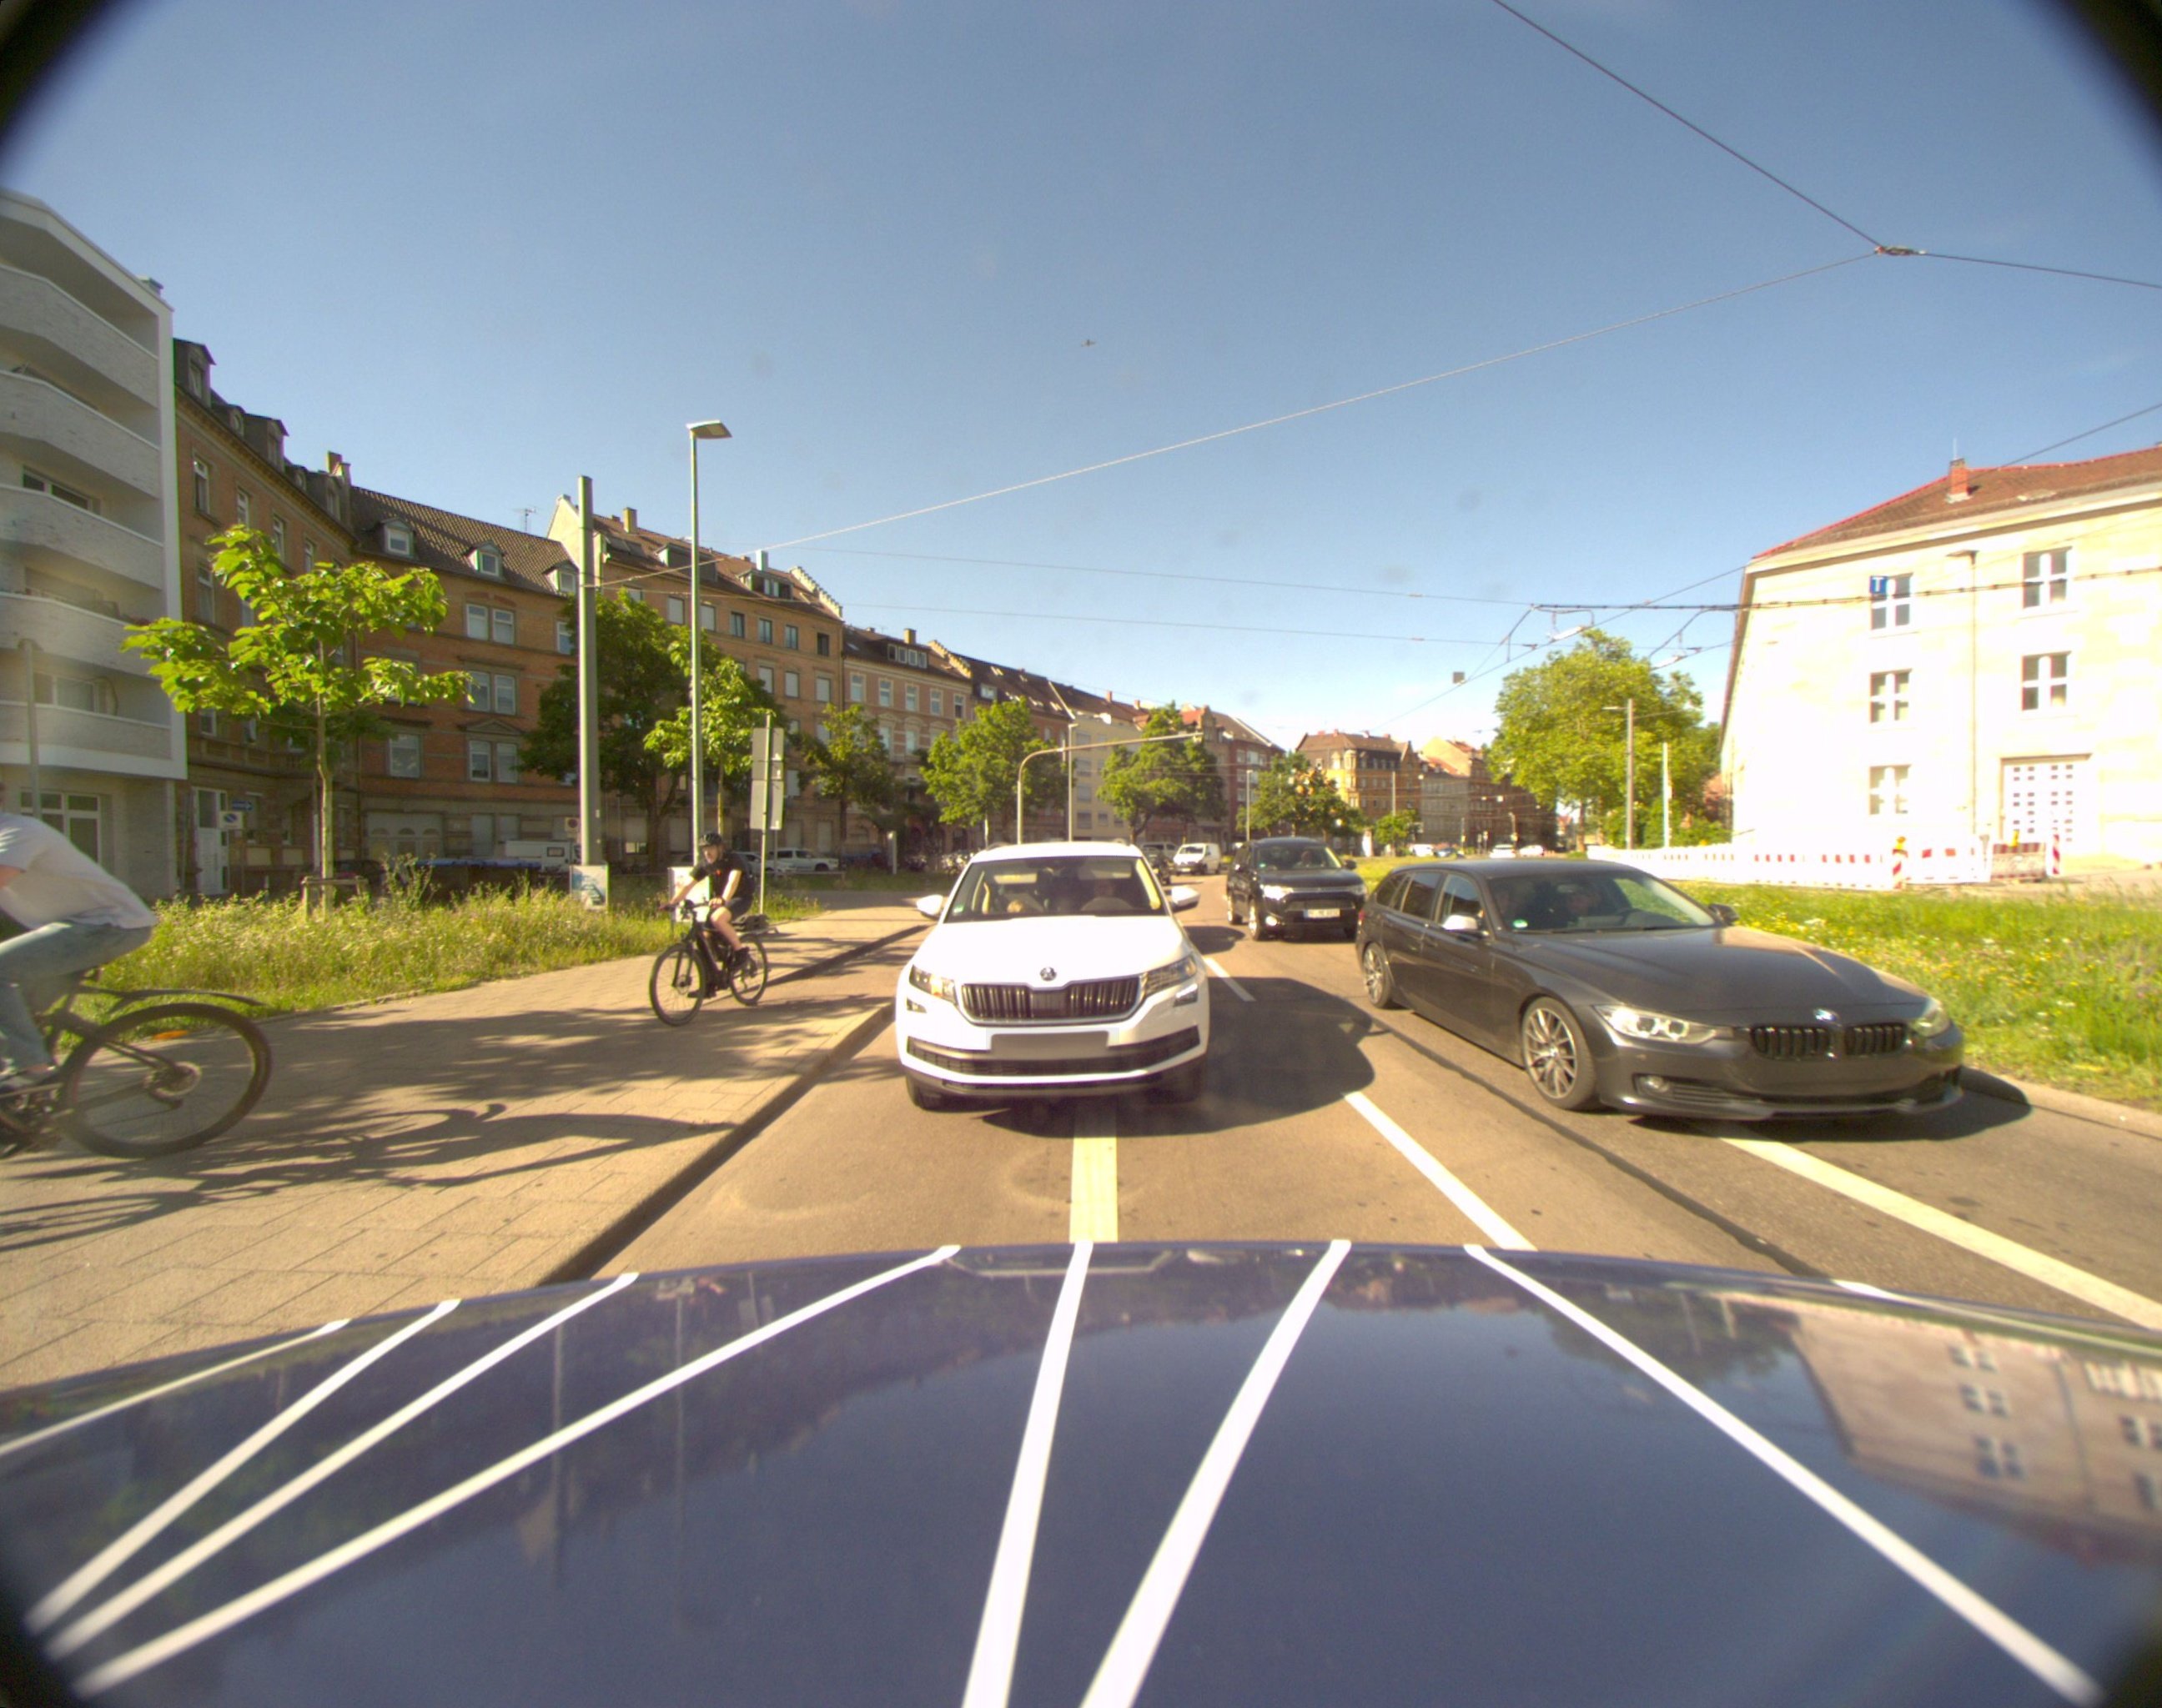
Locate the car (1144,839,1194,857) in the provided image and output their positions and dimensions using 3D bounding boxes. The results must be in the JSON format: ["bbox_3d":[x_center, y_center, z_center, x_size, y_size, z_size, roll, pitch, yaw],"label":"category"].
[{"bbox_3d":[8.199,-0.583,70.609,4.578,1.658,1.600,0,1,7],"label":"car"}]

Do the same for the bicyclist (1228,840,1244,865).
[{"bbox_3d":[12.629,-0.160,61.859,0.847,2.002,1.198,0,1,33],"label":"bicyclist"}]

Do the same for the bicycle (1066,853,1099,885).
[{"bbox_3d":[0.083,0.661,34.262,0.735,1.353,2.078,0,1,21],"label":"bicycle"}]

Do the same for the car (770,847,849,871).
[{"bbox_3d":[-14.679,0.258,41.195,3.700,1.244,1.540,0,1,2],"label":"car"}]

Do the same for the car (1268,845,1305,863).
[{"bbox_3d":[17.514,-0.054,64.581,1.836,1.464,4.722,1,1,31],"label":"car"}]

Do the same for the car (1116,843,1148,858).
[{"bbox_3d":[5.470,-0.416,80.728,1.547,1.578,3.607,1,2,41],"label":"car"}]

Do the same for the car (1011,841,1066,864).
[{"bbox_3d":[-3.106,-0.132,56.104,3.825,1.698,1.682,0,1,3],"label":"car"}]

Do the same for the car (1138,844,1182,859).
[{"bbox_3d":[7.128,-0.243,68.179,3.823,1.372,1.600,0,1,9],"label":"car"}]

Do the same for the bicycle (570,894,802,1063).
[{"bbox_3d":[-3.529,1.035,7.075,0.637,1.190,2.156,-1,1,13],"label":"bicycle"}]

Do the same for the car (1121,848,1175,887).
[{"bbox_3d":[3.124,0.560,34.866,1.837,1.637,4.152,0,1,14],"label":"car"}]

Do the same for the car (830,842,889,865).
[{"bbox_3d":[-15.609,-0.053,53.671,1.547,1.578,3.709,1,2,41],"label":"car"}]

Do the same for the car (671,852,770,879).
[{"bbox_3d":[-17.499,0.536,36.907,4.156,1.244,1.683,0,1,13],"label":"car"}]

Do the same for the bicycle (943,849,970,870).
[{"bbox_3d":[-7.684,0.344,46.760,0.664,1.260,2.199,-3,1,-36],"label":"bicycle"}]

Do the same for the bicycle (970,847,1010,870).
[{"bbox_3d":[-5.474,0.271,45.740,2.207,1.260,0.662,-3,1,-25],"label":"bicycle"}]

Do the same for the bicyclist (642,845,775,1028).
[{"bbox_3d":[-3.511,0.728,7.238,0.630,1.619,0.972,-1,1,13],"label":"bicyclist"}]

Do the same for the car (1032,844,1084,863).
[{"bbox_3d":[-1.774,-0.049,58.713,3.823,1.398,1.600,0,1,6],"label":"car"}]

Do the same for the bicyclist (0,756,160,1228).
[{"bbox_3d":[-4.644,0.545,3.110,0.809,1.855,0.750,0,2,13],"label":"bicyclist"}]

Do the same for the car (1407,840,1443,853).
[{"bbox_3d":[52.455,-1.182,115.890,4.578,1.864,2.004,-2,1,44],"label":"car"}]

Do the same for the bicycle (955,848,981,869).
[{"bbox_3d":[-7.121,0.312,47.754,0.664,1.260,2.199,-3,1,-36],"label":"bicycle"}]

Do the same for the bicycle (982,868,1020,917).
[{"bbox_3d":[-2.158,1.025,20.747,0.668,1.190,2.155,-1,1,4],"label":"bicycle"}]

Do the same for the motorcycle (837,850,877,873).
[{"bbox_3d":[-13.288,0.441,45.020,2.314,1.270,0.664,-2,1,24],"label":"motorcycle"}]

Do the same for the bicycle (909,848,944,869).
[{"bbox_3d":[-9.509,0.282,46.712,2.198,1.260,0.664,-2,1,32],"label":"bicycle"}]

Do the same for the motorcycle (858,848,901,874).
[{"bbox_3d":[-11.177,0.377,42.207,2.200,1.322,0.663,-2,1,13],"label":"motorcycle"}]

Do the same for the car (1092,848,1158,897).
[{"bbox_3d":[1.644,0.602,26.957,1.838,1.543,4.151,0,1,10],"label":"car"}]

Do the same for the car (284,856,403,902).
[{"bbox_3d":[-26.167,0.830,27.148,1.835,1.419,4.378,-1,1,-27],"label":"car"}]

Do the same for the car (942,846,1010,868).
[{"bbox_3d":[-7.042,0.179,51.296,4.322,1.398,1.682,0,1,3],"label":"car"}]

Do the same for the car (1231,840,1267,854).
[{"bbox_3d":[18.696,-0.813,84.659,3.823,1.581,1.600,0,1,6],"label":"car"}]

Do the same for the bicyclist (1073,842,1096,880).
[{"bbox_3d":[0.171,0.304,34.473,0.734,1.685,0.973,0,1,22],"label":"bicyclist"}]

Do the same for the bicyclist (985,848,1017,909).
[{"bbox_3d":[-2.174,0.643,20.740,0.668,1.619,0.971,-1,1,5],"label":"bicyclist"}]

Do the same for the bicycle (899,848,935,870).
[{"bbox_3d":[-9.741,0.310,45.071,2.198,1.260,0.664,-2,1,30],"label":"bicycle"}]

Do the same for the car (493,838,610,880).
[{"bbox_3d":[-27.116,0.218,39.010,2.047,2.026,4.510,1,2,41],"label":"car"}]

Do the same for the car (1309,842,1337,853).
[{"bbox_3d":[40.282,-1.095,126.440,4.058,1.647,1.770,1,2,34],"label":"car"}]

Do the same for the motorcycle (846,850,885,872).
[{"bbox_3d":[-12.939,0.418,45.625,2.314,1.276,0.664,-2,1,24],"label":"motorcycle"}]

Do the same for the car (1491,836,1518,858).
[{"bbox_3d":[33.625,-0.561,60.331,1.821,1.636,4.190,-1,0,29],"label":"car"}]

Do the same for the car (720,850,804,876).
[{"bbox_3d":[-16.406,0.442,39.106,3.696,1.244,1.683,0,1,13],"label":"car"}]

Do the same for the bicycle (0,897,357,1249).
[{"bbox_3d":[-4.612,0.911,3.208,0.757,1.293,2.156,-1,1,12],"label":"bicycle"}]

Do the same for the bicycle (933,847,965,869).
[{"bbox_3d":[-7.728,0.243,44.518,0.664,1.260,2.198,-3,1,-45],"label":"bicycle"}]

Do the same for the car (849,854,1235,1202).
[{"bbox_3d":[-0.227,0.856,5.950,1.842,1.636,4.397,-2,0,-1],"label":"car"}]

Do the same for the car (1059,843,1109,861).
[{"bbox_3d":[0.262,-0.155,61.165,3.823,1.398,1.600,0,1,6],"label":"car"}]

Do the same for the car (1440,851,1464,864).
[{"bbox_3d":[49.457,0.389,101.259,1.835,1.637,4.157,1,2,40],"label":"car"}]

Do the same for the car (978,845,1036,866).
[{"bbox_3d":[-5.226,0.091,53.965,3.822,1.398,1.683,0,1,9],"label":"car"}]

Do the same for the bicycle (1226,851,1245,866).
[{"bbox_3d":[12.583,0.337,61.777,0.762,1.138,2.287,0,1,32],"label":"bicycle"}]

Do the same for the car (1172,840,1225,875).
[{"bbox_3d":[7.392,0.158,47.333,1.978,2.074,4.721,0,1,26],"label":"car"}]

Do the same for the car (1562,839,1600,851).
[{"bbox_3d":[67.816,-1.254,103.075,4.069,1.647,1.765,0,1,-5],"label":"car"}]

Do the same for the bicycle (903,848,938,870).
[{"bbox_3d":[-9.705,0.298,46.009,2.198,1.260,0.664,-2,1,32],"label":"bicycle"}]

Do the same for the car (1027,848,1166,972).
[{"bbox_3d":[0.236,0.764,12.608,1.842,1.636,4.397,-2,0,1],"label":"car"}]

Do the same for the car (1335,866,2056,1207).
[{"bbox_3d":[3.479,0.852,5.594,1.741,1.359,4.426,-2,0,1],"label":"car"}]

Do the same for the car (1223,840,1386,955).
[{"bbox_3d":[3.698,0.628,13.398,1.841,1.636,4.399,-2,0,5],"label":"car"}]

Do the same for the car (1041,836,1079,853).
[{"bbox_3d":[-1.938,-0.937,71.666,1.547,1.578,3.607,1,2,41],"label":"car"}]

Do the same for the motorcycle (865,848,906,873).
[{"bbox_3d":[-11.147,0.360,43.294,2.200,1.315,0.664,-2,1,18],"label":"motorcycle"}]

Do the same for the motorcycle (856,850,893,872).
[{"bbox_3d":[-12.601,0.404,46.405,2.199,1.260,0.664,-2,1,24],"label":"motorcycle"}]
